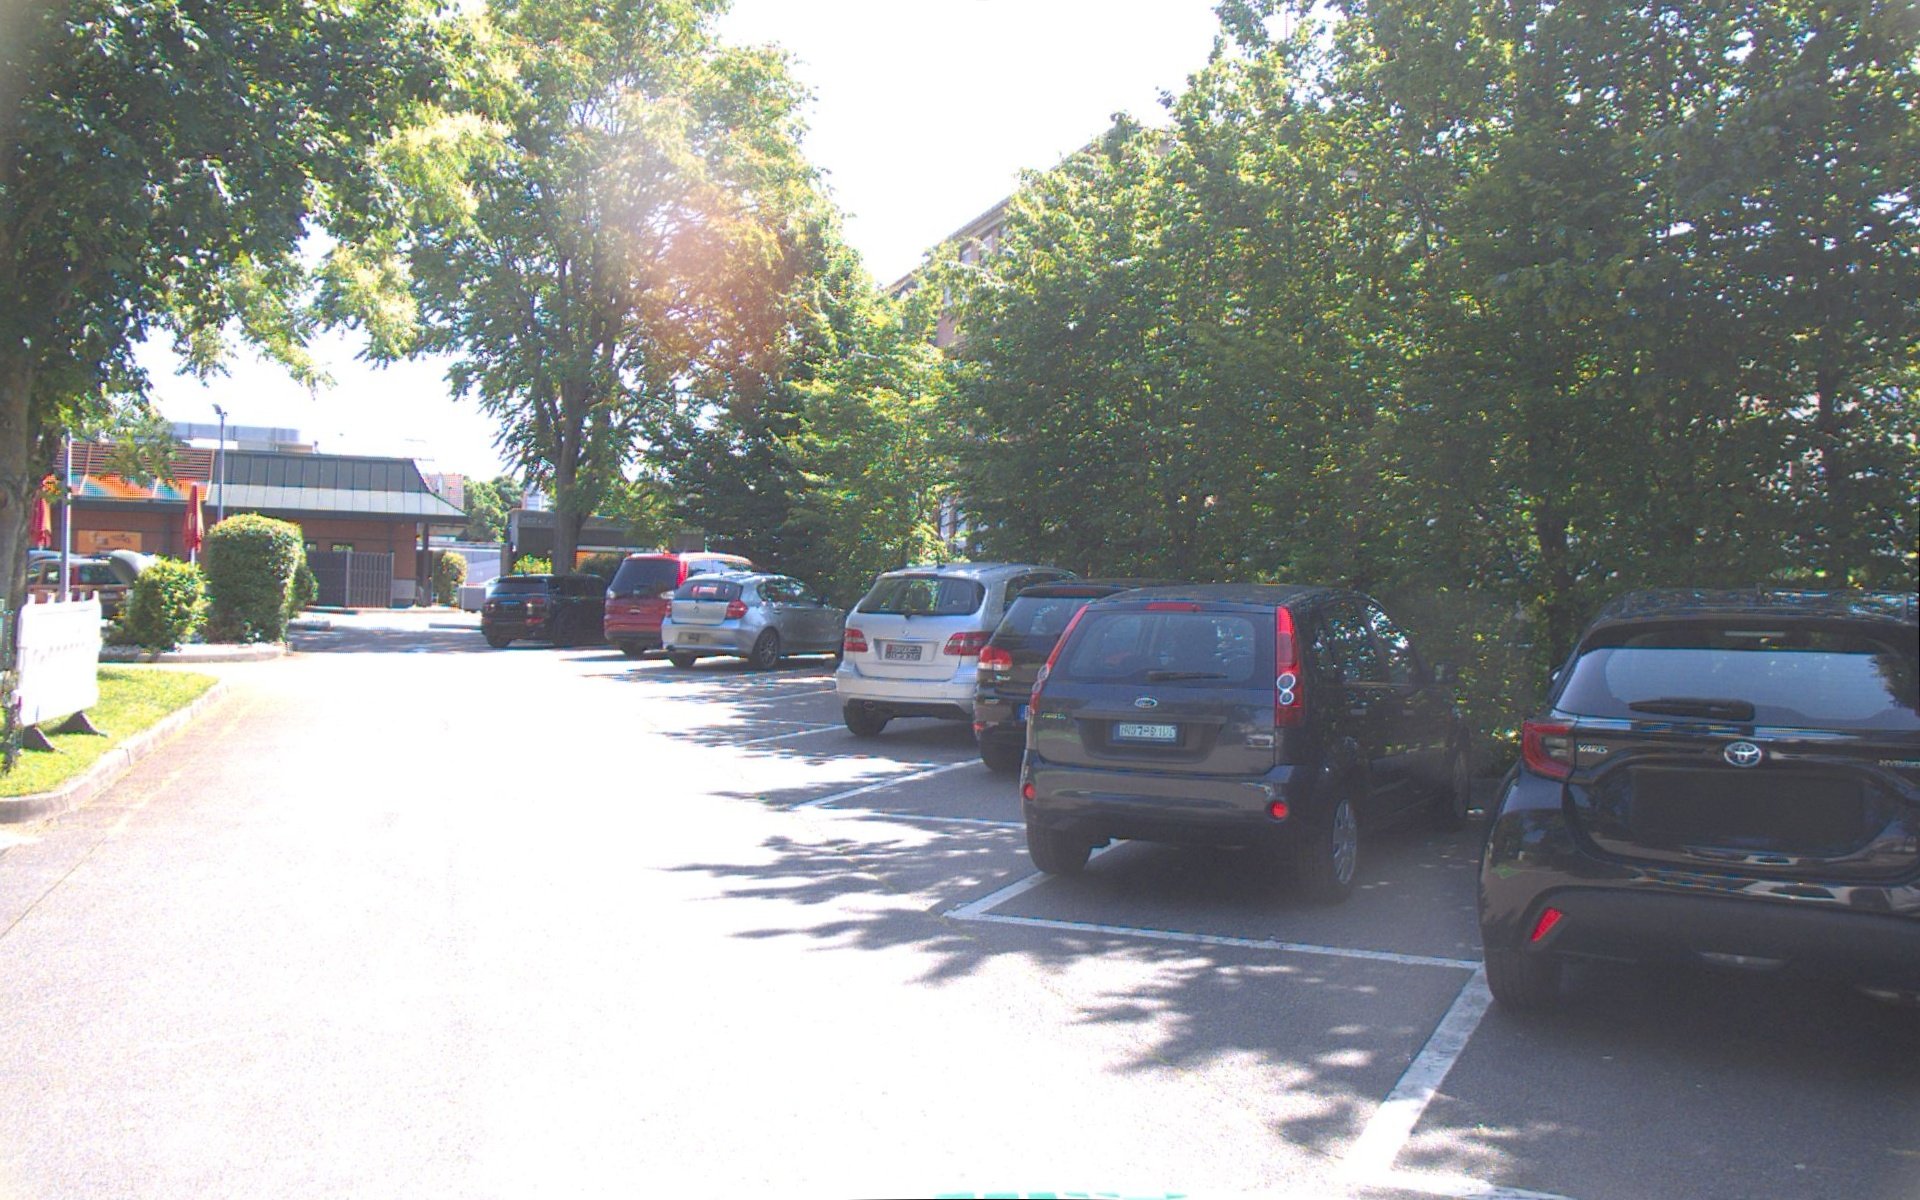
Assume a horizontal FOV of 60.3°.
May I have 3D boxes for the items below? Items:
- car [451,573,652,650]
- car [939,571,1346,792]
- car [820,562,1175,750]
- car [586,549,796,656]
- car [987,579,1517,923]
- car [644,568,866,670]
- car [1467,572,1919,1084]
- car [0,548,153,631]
[{"bbox_3d":[-7.995,0.206,32.724,1.733,1.413,3.997,0,0,25],"label":"car"},{"bbox_3d":[1.637,0.524,13.482,1.737,1.495,3.989,0,1,33],"label":"car"},{"bbox_3d":[0.500,0.447,16.258,1.736,1.599,3.991,1,1,31],"label":"car"},{"bbox_3d":[-4.699,0.021,29.472,1.733,1.765,3.998,-1,0,25],"label":"car"},{"bbox_3d":[1.856,0.629,9.340,1.668,1.478,3.992,0,1,31],"label":"car"},{"bbox_3d":[-3.164,0.248,26.319,1.733,1.501,3.999,0,1,23],"label":"car"},{"bbox_3d":[3.303,0.639,6.829,1.624,1.495,3.899,0,1,28],"label":"car"},{"bbox_3d":[-20.630,-0.290,37.742,4.270,1.715,1.860,2,3,28],"label":"car"}]
